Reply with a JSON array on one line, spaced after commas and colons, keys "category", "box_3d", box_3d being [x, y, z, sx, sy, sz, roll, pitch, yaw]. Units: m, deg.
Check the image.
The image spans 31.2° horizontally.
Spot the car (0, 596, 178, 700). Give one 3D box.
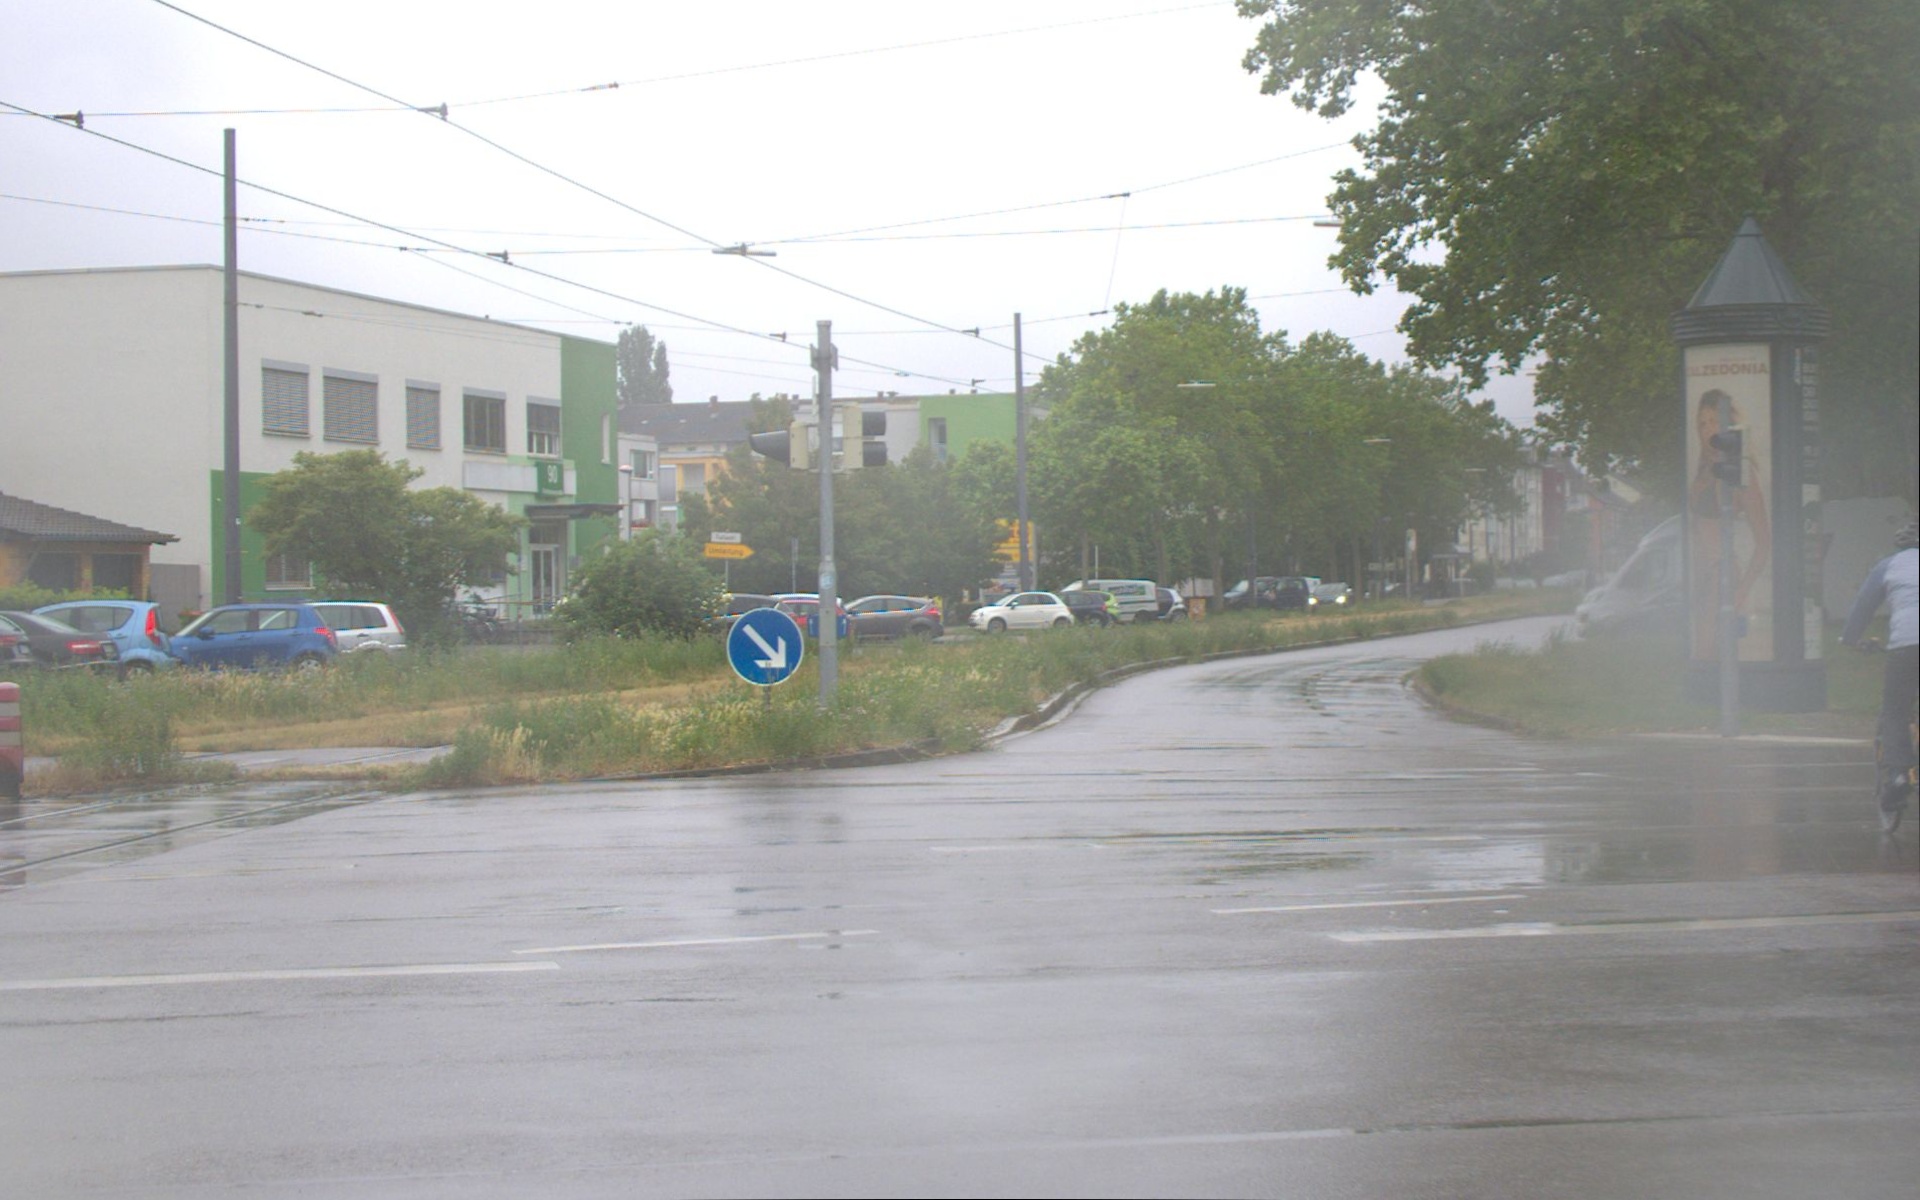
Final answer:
[{"category": "car", "box_3d": [-14.561, 0.754, 54.271, 3.987, 1.576, 1.858, -1, 0, 1]}]

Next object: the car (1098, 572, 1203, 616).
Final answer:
[{"category": "car", "box_3d": [7.997, -0.243, 144.677, 3.986, 1.826, 2.001, 0, 0, -14]}]

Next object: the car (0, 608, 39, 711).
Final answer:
[{"category": "car", "box_3d": [-15.469, 0.919, 48.421, 4.477, 1.413, 1.859, -2, 0, -2]}]

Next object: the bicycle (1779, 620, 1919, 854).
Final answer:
[{"category": "bicycle", "box_3d": [4.788, 0.660, 17.333, 0.690, 1.113, 1.885, 0, 0, -6]}]

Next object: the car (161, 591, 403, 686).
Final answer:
[{"category": "car", "box_3d": [-12.352, 0.678, 62.583, 4.107, 1.635, 1.930, -1, 0, -17]}]

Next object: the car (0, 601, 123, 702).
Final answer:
[{"category": "car", "box_3d": [-14.861, 0.812, 50.864, 4.496, 1.413, 1.859, -2, 0, -2]}]

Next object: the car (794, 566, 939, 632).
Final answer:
[{"category": "car", "box_3d": [-2.740, -0.028, 100.362, 3.986, 1.881, 2.000, 0, 0, -10]}]

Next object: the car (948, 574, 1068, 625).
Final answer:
[{"category": "car", "box_3d": [1.627, -0.004, 117.276, 3.773, 1.697, 1.837, 0, 0, -13]}]

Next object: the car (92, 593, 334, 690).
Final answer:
[{"category": "car", "box_3d": [-12.922, 0.705, 59.398, 3.986, 1.576, 1.930, -1, 0, -14]}]

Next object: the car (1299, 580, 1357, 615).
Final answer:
[{"category": "car", "box_3d": [17.908, -0.108, 167.105, 1.892, 1.656, 3.996, 0, 0, 20]}]

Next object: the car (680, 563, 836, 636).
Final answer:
[{"category": "car", "box_3d": [-5.229, -0.020, 89.183, 3.986, 1.857, 2.000, 0, 0, -2]}]

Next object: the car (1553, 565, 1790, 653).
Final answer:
[{"category": "car", "box_3d": [14.243, 0.167, 68.745, 4.448, 1.711, 1.998, 0, 0, 18]}]

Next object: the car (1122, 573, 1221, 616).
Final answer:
[{"category": "car", "box_3d": [9.214, -0.244, 149.903, 3.986, 1.826, 2.000, 0, 0, -8]}]

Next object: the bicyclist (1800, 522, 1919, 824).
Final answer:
[{"category": "bicyclist", "box_3d": [4.765, 0.365, 17.522, 0.690, 1.501, 0.844, 0, -1, -6]}]

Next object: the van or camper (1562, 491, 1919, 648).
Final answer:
[{"category": "van or camper", "box_3d": [16.404, -0.646, 71.739, 7.327, 3.167, 3.260, 0, 0, 15]}]

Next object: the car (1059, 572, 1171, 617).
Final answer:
[{"category": "car", "box_3d": [6.084, -0.205, 135.501, 3.986, 1.753, 2.011, 0, 0, -14]}]
